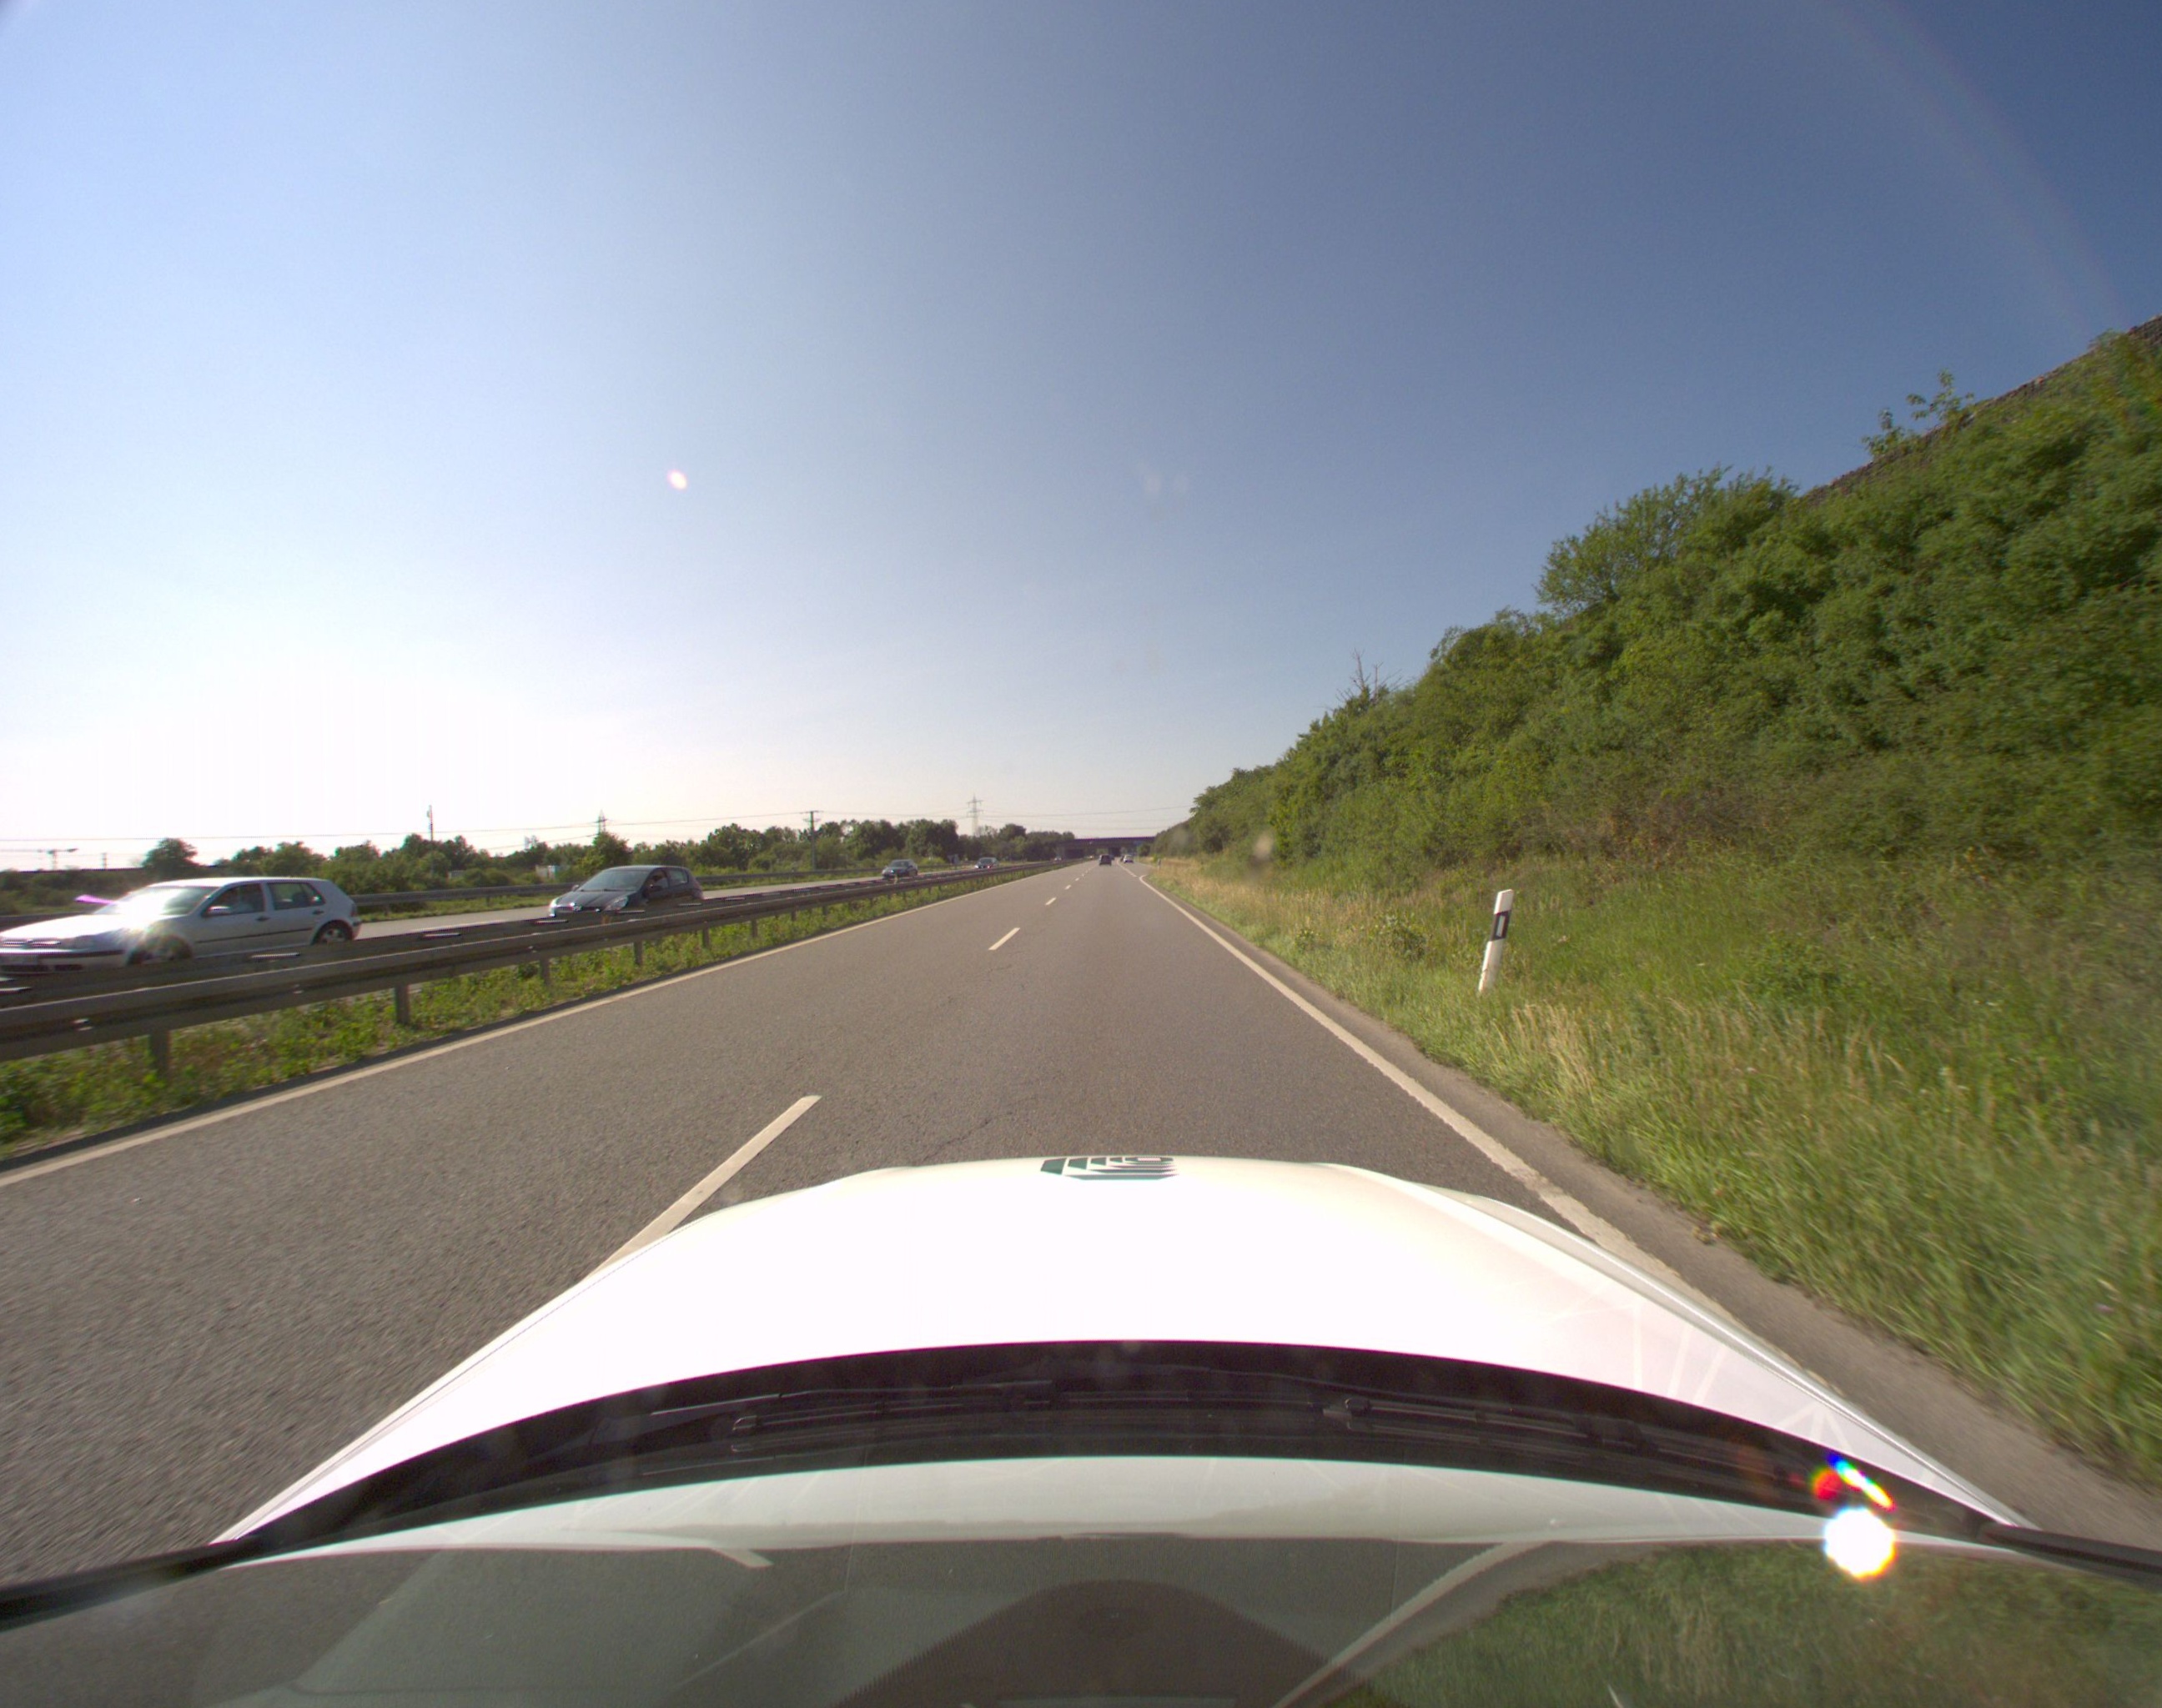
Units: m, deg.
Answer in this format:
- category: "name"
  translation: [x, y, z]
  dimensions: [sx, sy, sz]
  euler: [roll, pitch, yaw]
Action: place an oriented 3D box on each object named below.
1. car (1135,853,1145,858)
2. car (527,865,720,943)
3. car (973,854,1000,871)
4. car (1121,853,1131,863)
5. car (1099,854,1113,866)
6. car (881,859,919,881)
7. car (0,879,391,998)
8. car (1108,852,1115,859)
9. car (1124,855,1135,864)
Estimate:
- category: "car"
  translation: [15.336, 0.383, 211.966]
  dimensions: [1.887, 1.297, 4.017]
  euler: [0, 0, 16]
- category: "car"
  translation: [-10.026, 1.011, 18.314]
  dimensions: [1.706, 1.470, 4.417]
  euler: [0, 0, 2]
- category: "car"
  translation: [-8.780, 0.783, 75.932]
  dimensions: [1.808, 1.473, 4.325]
  euler: [0, 0, 2]
- category: "car"
  translation: [10.084, 0.951, 181.448]
  dimensions: [1.986, 2.013, 4.002]
  euler: [-4, 0, 2]
- category: "car"
  translation: [3.679, 0.808, 118.420]
  dimensions: [1.841, 1.644, 4.005]
  euler: [-2, 0, 4]
- category: "car"
  translation: [-12.948, 1.141, 58.401]
  dimensions: [1.707, 1.450, 4.323]
  euler: [-2, 0, 0]
- category: "car"
  translation: [-13.628, 1.156, 12.724]
  dimensions: [1.814, 1.396, 4.417]
  euler: [0, 0, 2]
- category: "car"
  translation: [8.418, 0.435, 223.697]
  dimensions: [1.841, 1.644, 4.005]
  euler: [-2, 0, 4]
- category: "car"
  translation: [8.717, 0.946, 146.507]
  dimensions: [1.788, 1.665, 4.005]
  euler: [0, 0, 4]
